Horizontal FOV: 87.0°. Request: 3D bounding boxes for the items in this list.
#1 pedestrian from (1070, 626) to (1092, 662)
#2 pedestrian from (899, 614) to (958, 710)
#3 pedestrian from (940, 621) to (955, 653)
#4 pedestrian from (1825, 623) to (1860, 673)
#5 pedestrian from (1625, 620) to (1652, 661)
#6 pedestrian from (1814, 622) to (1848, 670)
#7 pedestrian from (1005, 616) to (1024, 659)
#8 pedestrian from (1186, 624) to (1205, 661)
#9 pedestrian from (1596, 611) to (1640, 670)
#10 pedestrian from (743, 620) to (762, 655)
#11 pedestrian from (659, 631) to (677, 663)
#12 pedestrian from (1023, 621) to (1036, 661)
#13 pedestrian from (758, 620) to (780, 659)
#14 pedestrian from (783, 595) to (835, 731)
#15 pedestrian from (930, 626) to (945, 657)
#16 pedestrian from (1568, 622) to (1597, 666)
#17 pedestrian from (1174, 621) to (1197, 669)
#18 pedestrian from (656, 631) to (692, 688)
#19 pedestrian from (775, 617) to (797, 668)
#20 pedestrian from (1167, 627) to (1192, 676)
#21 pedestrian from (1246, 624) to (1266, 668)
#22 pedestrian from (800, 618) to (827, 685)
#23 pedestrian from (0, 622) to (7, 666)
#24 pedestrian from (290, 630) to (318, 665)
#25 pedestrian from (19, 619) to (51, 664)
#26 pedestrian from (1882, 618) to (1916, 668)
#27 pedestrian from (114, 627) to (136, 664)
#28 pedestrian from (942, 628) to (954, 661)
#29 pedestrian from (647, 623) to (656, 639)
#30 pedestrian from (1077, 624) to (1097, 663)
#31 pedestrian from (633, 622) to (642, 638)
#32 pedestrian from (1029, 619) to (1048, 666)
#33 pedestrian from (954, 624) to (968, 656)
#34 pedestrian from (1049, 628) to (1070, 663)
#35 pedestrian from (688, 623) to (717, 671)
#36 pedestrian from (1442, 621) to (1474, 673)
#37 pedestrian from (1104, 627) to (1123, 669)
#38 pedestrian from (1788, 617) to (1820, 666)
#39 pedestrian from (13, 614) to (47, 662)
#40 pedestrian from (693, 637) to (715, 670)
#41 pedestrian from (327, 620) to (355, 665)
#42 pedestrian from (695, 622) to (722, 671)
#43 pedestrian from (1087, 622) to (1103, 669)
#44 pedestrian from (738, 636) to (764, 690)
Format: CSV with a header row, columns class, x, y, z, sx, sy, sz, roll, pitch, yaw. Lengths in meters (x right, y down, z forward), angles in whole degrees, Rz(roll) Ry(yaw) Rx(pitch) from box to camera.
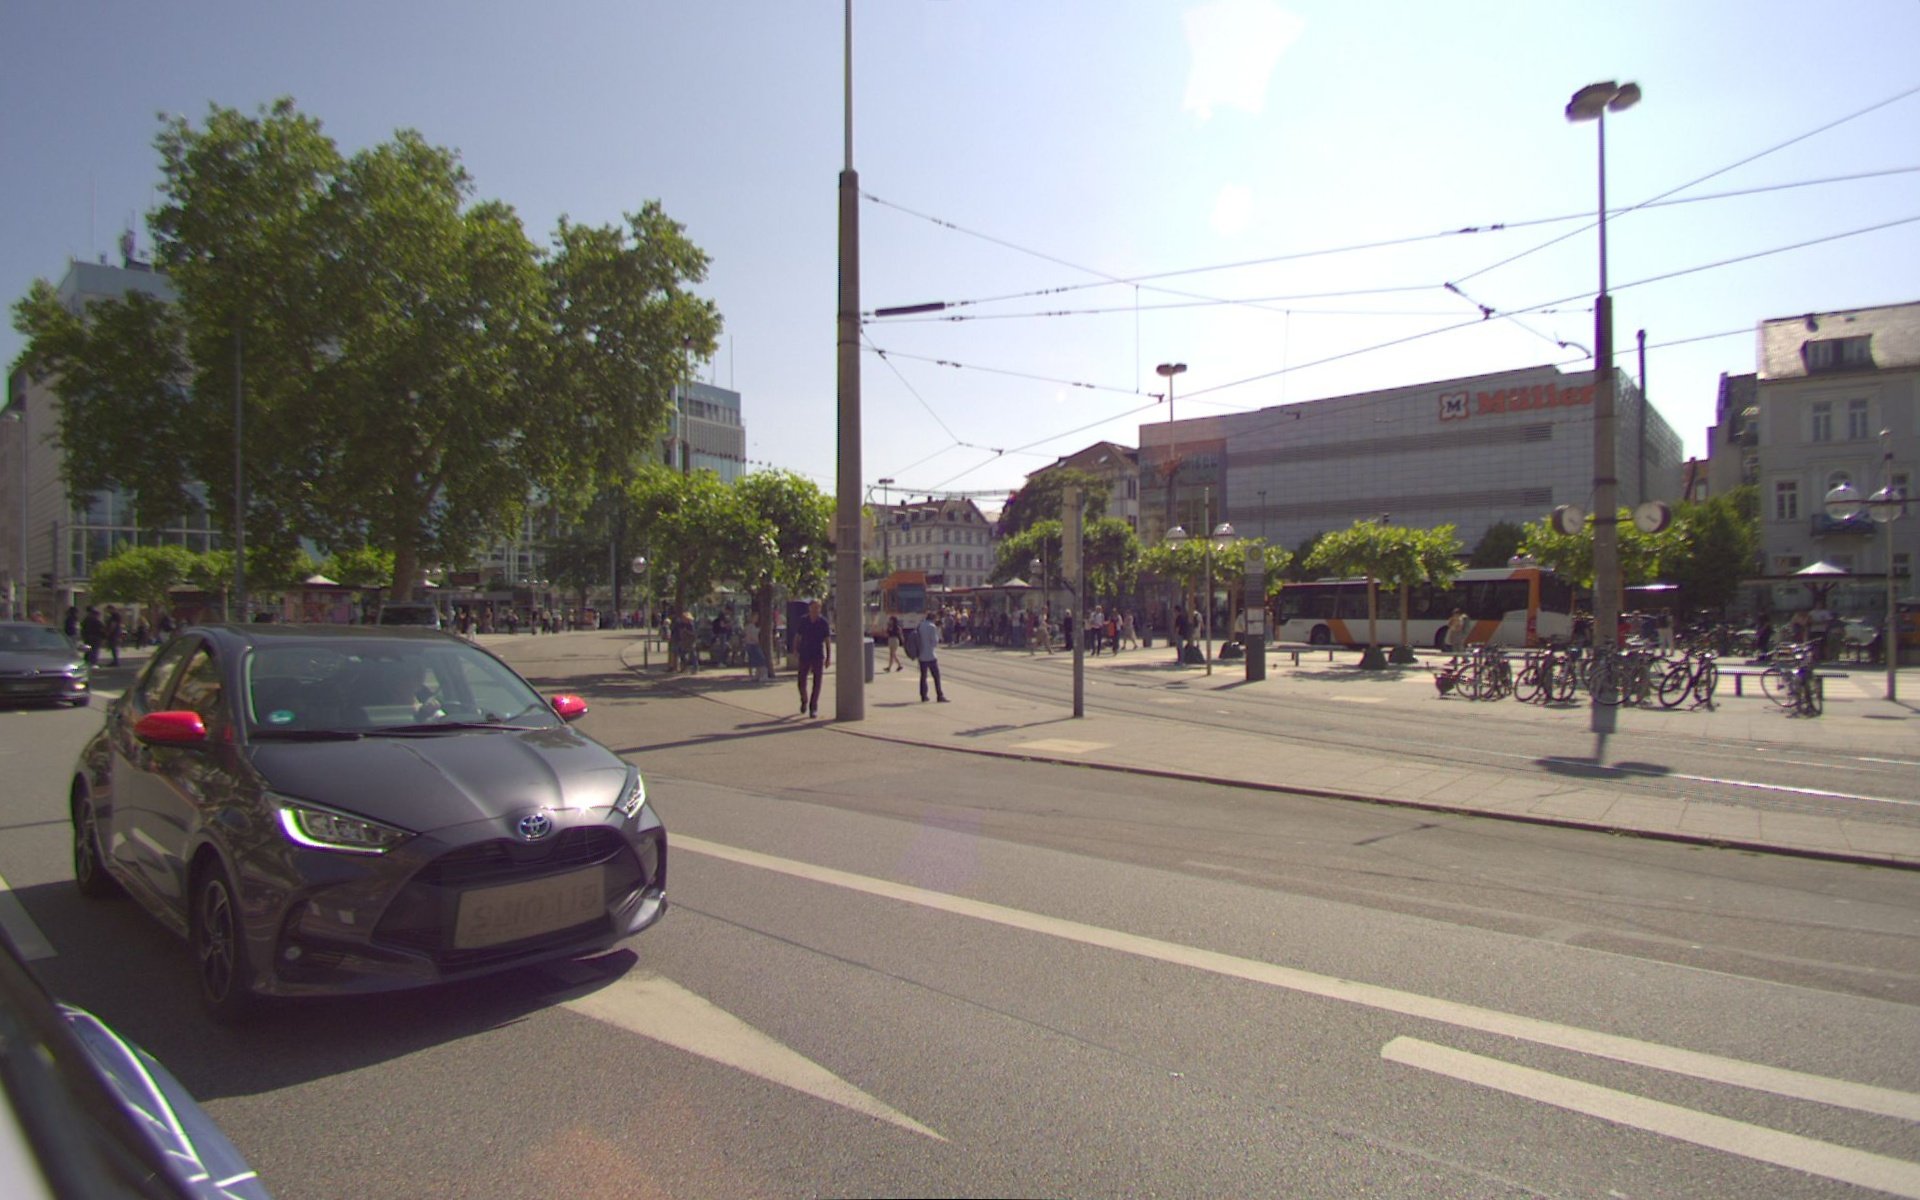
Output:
class,x,y,z,sx,sy,sz,roll,pitch,yaw
pedestrian,5.077,1.837,42.460,0.615,1.477,0.681,4,-5,-43
pedestrian,-0.565,1.100,18.298,0.678,1.671,0.885,-2,-2,32
pedestrian,-0.637,1.831,50.225,0.573,1.561,0.677,0,-4,14
pedestrian,26.630,1.461,30.535,0.679,1.477,0.617,-2,-5,36
pedestrian,25.057,1.496,37.375,0.680,1.477,0.616,-3,-5,44
pedestrian,26.951,1.434,31.324,0.679,1.477,0.618,-2,-5,34
pedestrian,2.326,1.600,42.921,0.675,1.809,0.621,-1,-4,19
pedestrian,9.712,1.751,41.722,0.672,1.477,0.623,0,-4,7
pedestrian,16.707,1.025,25.709,0.617,1.477,0.680,0,-4,3
pedestrian,-9.414,1.725,45.991,0.669,1.561,0.580,3,-4,-28
pedestrian,-11.718,1.873,40.643,0.483,1.262,0.491,-2,0,39
pedestrian,3.058,1.801,44.396,0.462,1.731,0.555,-1,-4,19
pedestrian,-7.719,1.601,40.918,0.657,1.561,0.565,-3,-5,43
pedestrian,-2.307,0.962,15.543,0.670,2.023,0.895,1,-3,-3
pedestrian,-1.146,2.140,51.506,0.568,1.561,0.682,2,-4,-23
pedestrian,21.324,1.503,34.673,0.680,1.477,0.616,-3,-5,44
pedestrian,7.609,1.522,34.103,0.530,1.565,0.592,-3,-5,44
pedestrian,-7.568,1.570,26.817,0.680,1.477,0.616,-3,-5,41
pedestrian,-6.439,1.589,37.441,0.568,1.855,0.682,3,-4,-28
pedestrian,6.492,1.535,29.996,0.617,1.429,0.680,0,-4,3
pedestrian,10.155,1.577,34.733,0.585,1.477,0.522,-1,-4,21
pedestrian,-3.877,1.368,26.791,0.614,1.759,0.682,1,-4,-15
pedestrian,-38.767,1.765,40.461,0.732,1.760,0.865,-2,0,39
pedestrian,-24.186,1.758,37.313,0.614,1.251,0.664,-2,0,36
pedestrian,-36.982,1.656,40.478,0.731,1.760,0.743,-2,0,31
pedestrian,28.019,1.299,30.202,0.616,1.477,0.681,4,-5,-44
pedestrian,-39.507,2.159,47.865,0.721,1.682,0.641,-2,0,-36
pedestrian,-0.565,2.128,48.052,0.448,1.561,0.474,0,-4,14
pedestrian,-30.000,3.030,98.511,0.745,1.483,0.557,-2,0,-22
pedestrian,4.926,1.688,39.328,0.675,1.513,0.621,-1,-4,19
pedestrian,-29.571,2.767,92.853,0.745,1.483,0.557,-2,0,-22
pedestrian,2.936,1.598,37.666,0.584,1.744,0.557,-1,-4,19
pedestrian,0.061,1.995,50.724,0.573,1.561,0.677,0,-4,14
pedestrian,4.220,1.930,42.980,0.615,1.477,0.681,4,-5,-43
pedestrian,-8.142,1.490,32.036,0.716,1.477,0.682,3,-4,-28
pedestrian,14.614,1.385,29.710,0.670,1.477,0.625,4,-5,-43
pedestrian,5.438,1.713,35.860,0.549,1.477,0.621,-1,-4,19
pedestrian,26.054,1.290,31.259,0.679,1.477,0.617,-2,-5,38
pedestrian,-35.101,1.428,38.197,0.882,1.760,0.715,-2,0,31
pedestrian,-9.815,2.065,38.768,0.552,1.243,0.572,-2,-4,29
pedestrian,-21.034,1.444,34.395,0.570,1.472,0.788,-2,0,-16
pedestrian,-7.819,1.452,31.451,0.614,1.477,0.682,3,-4,-28
pedestrian,4.826,1.631,36.144,0.518,1.678,0.469,-1,-4,19
pedestrian,-4.895,1.469,23.691,0.568,1.243,0.555,0,-2,-15
